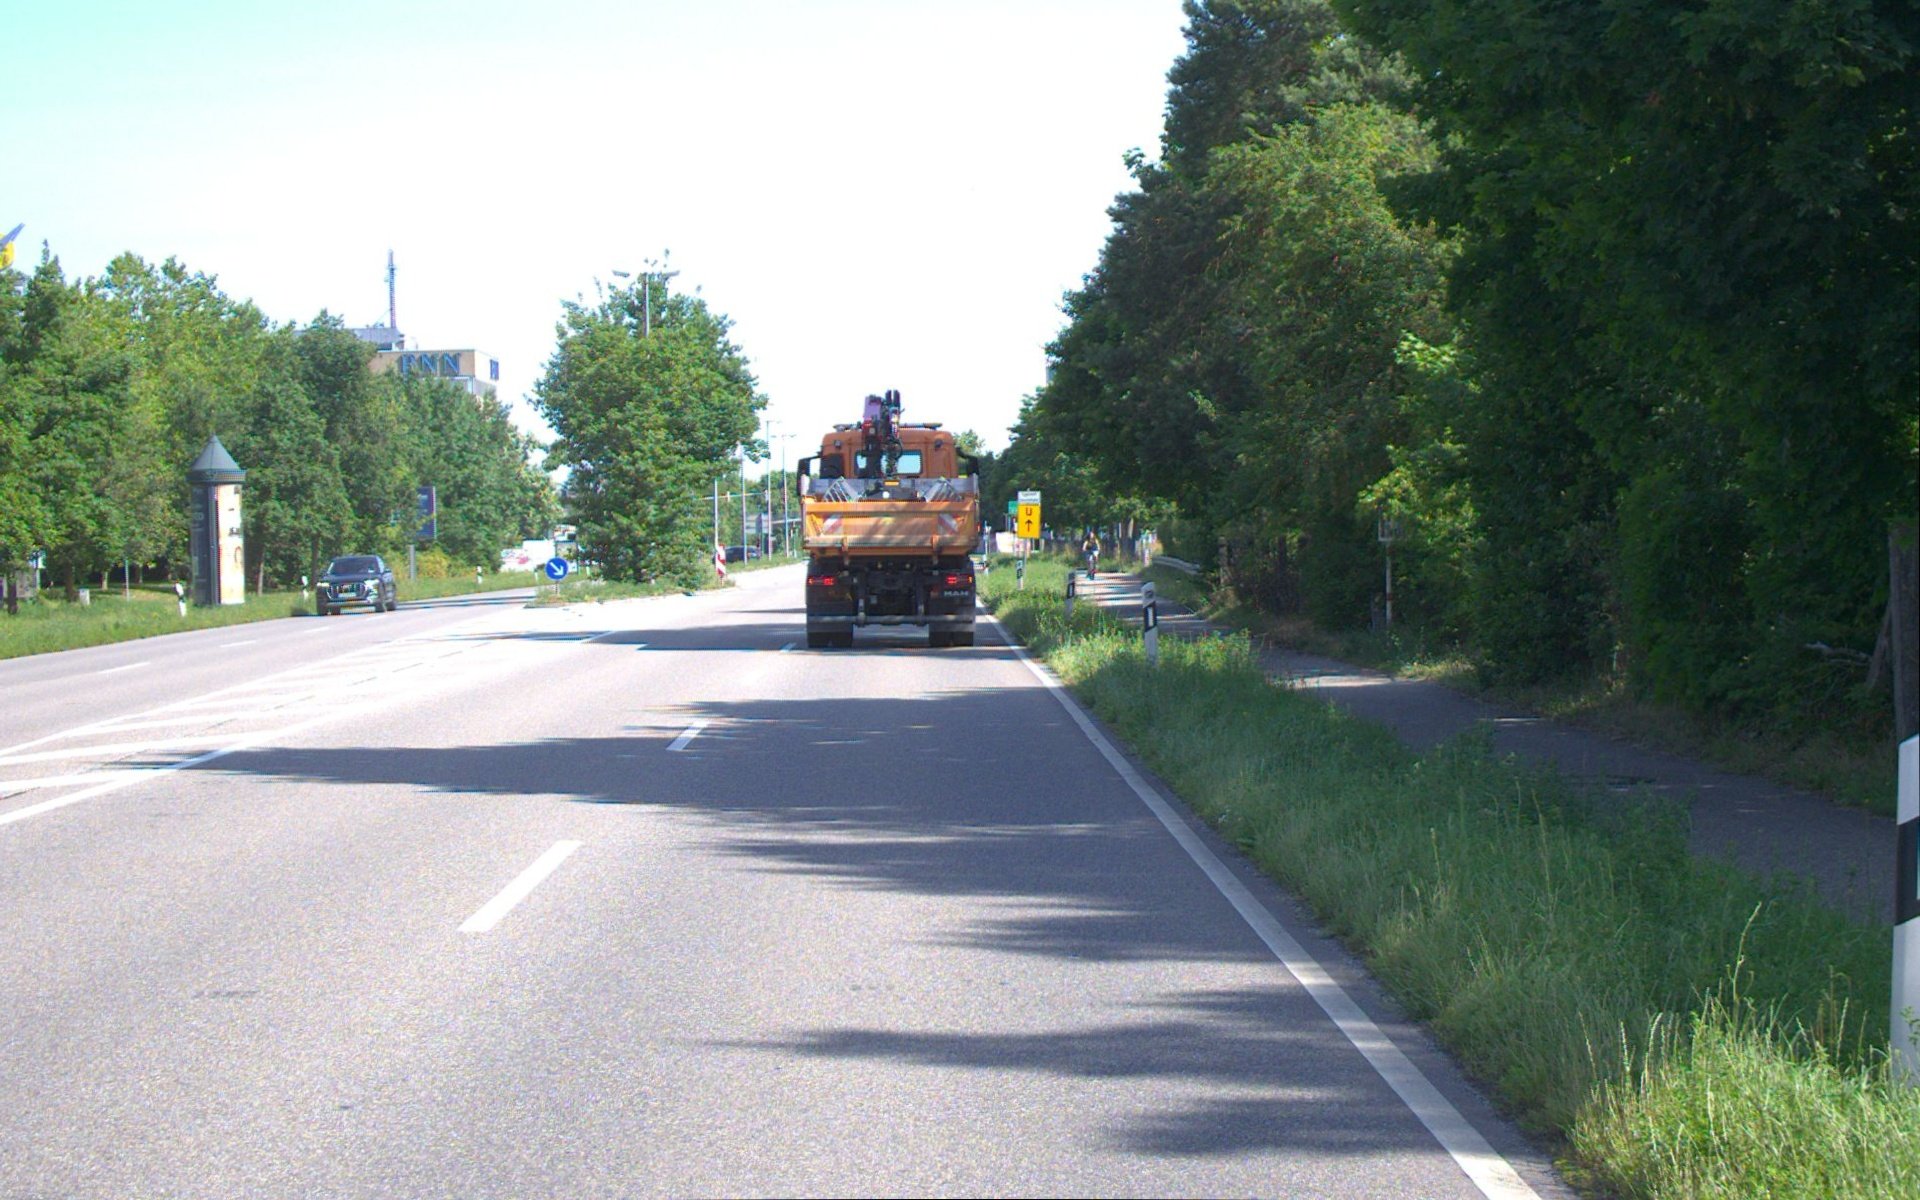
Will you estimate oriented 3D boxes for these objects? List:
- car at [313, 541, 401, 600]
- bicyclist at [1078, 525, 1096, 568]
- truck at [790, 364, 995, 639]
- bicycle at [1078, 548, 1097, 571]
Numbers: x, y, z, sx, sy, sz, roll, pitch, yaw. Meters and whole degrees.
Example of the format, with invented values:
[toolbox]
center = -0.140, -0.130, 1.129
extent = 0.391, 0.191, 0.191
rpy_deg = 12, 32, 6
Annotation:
[car]
center = -17.092, -0.856, 97.564
extent = 1.800, 1.566, 4.000
rpy_deg = -2, 1, -1
[bicyclist]
center = 4.647, -1.945, 125.848
extent = 0.558, 1.552, 0.557
rpy_deg = -2, 1, -1
[truck]
center = -1.133, -1.470, 52.419
extent = 2.871, 3.867, 7.401
rpy_deg = 1, 1, -3
[bicycle]
center = 4.669, -1.480, 125.867
extent = 0.558, 0.813, 1.964
rpy_deg = -2, 1, -1
